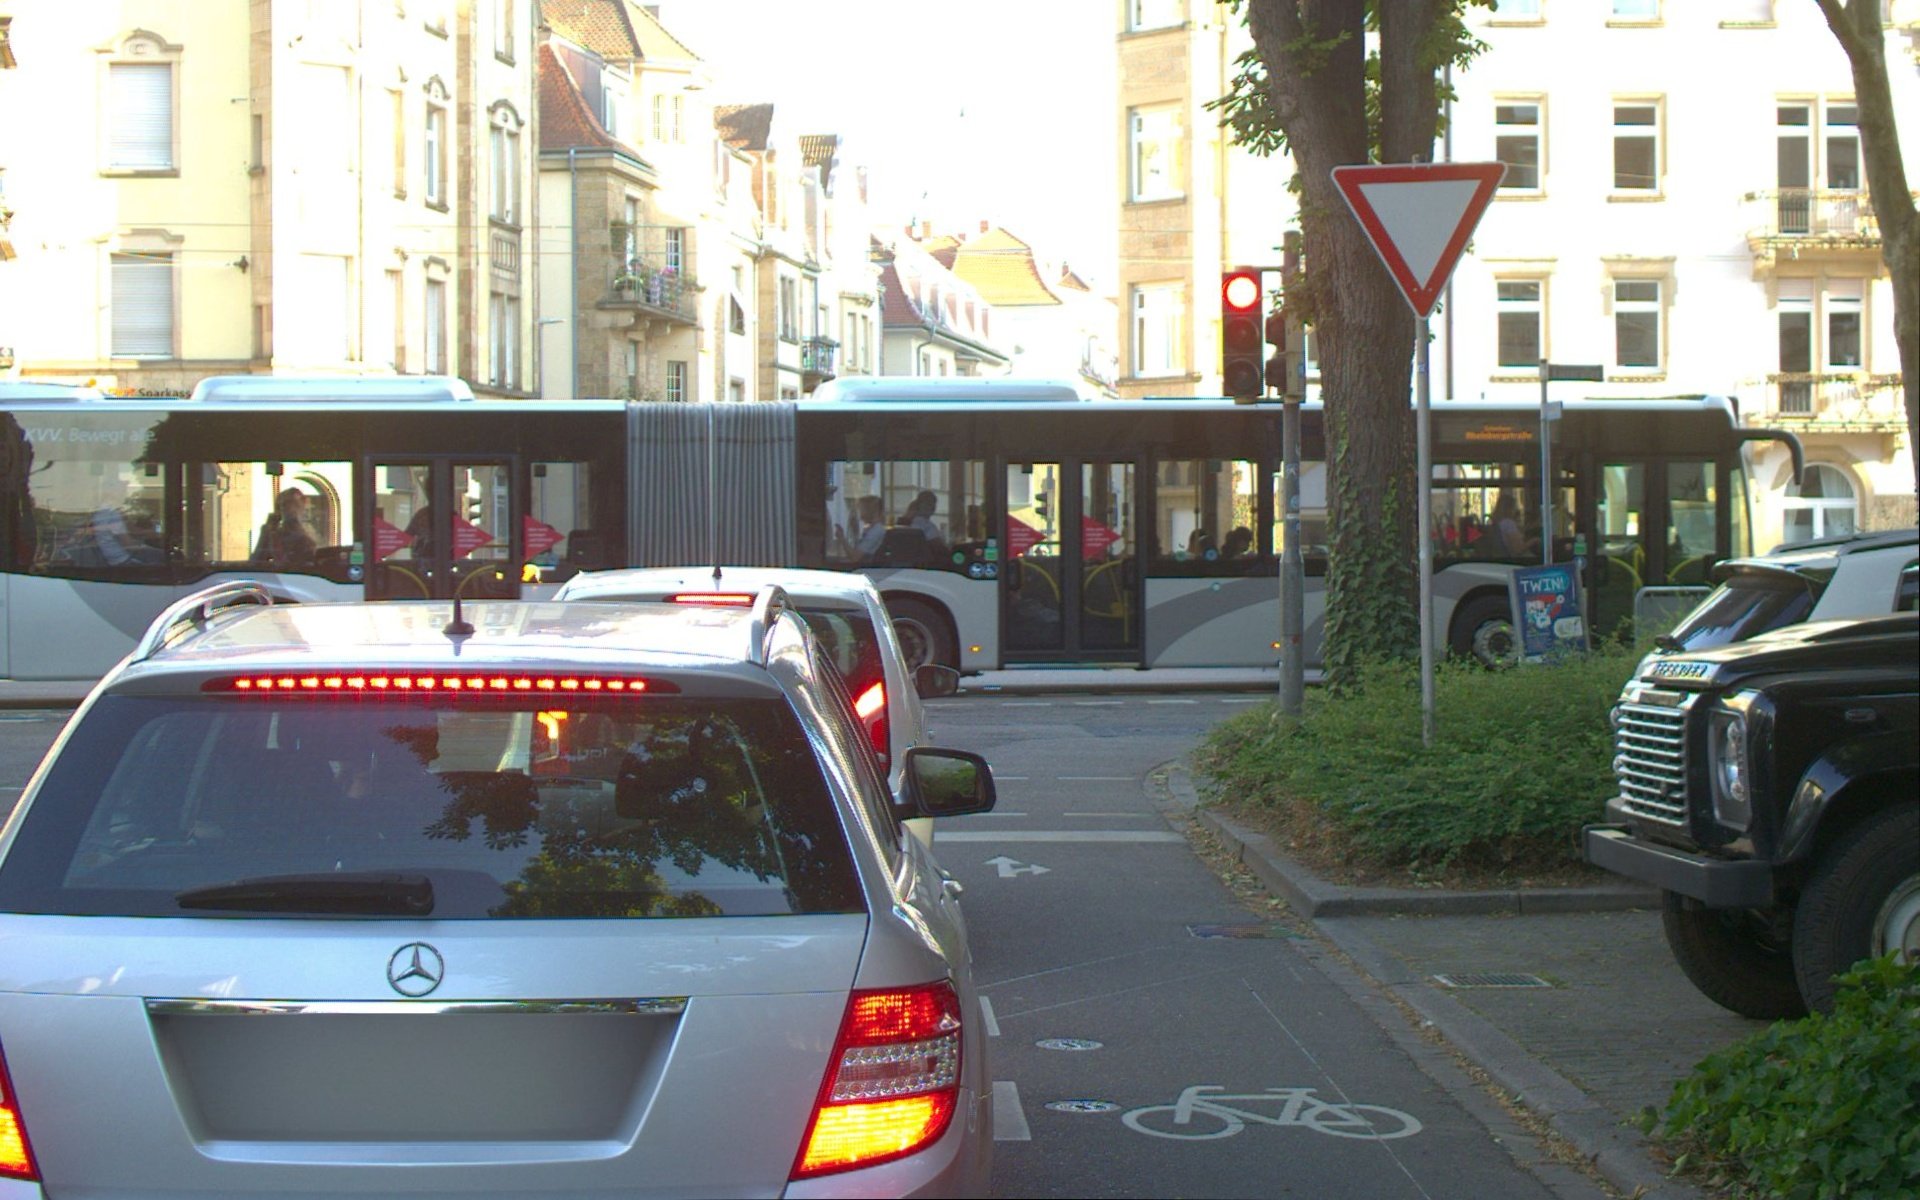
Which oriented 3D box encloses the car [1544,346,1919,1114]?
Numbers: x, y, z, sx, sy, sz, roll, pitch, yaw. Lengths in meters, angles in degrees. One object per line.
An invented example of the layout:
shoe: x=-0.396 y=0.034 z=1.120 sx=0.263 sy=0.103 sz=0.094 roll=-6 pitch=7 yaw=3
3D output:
car: x=4.144 y=0.288 z=10.114 sx=4.465 sy=2.029 sz=1.701 roll=-1 pitch=0 yaw=-3

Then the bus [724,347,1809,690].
bus: x=2.976 y=-0.846 z=34.593 sx=10.450 sy=3.190 sz=2.912 roll=-1 pitch=1 yaw=-8

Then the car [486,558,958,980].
car: x=-0.904 y=0.559 z=14.045 sx=1.619 sy=1.442 sz=4.345 roll=0 pitch=1 yaw=-2

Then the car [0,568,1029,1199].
car: x=-0.887 y=0.677 z=6.918 sx=1.777 sy=1.447 sz=4.548 roll=0 pitch=1 yaw=-2

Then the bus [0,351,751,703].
bus: x=-6.245 y=-0.720 z=33.302 sx=8.173 sy=3.190 sz=2.912 roll=-1 pitch=1 yaw=-8

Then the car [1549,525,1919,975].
car: x=4.300 y=0.485 z=13.084 sx=3.723 sy=1.564 sz=1.709 roll=-1 pitch=1 yaw=-4
